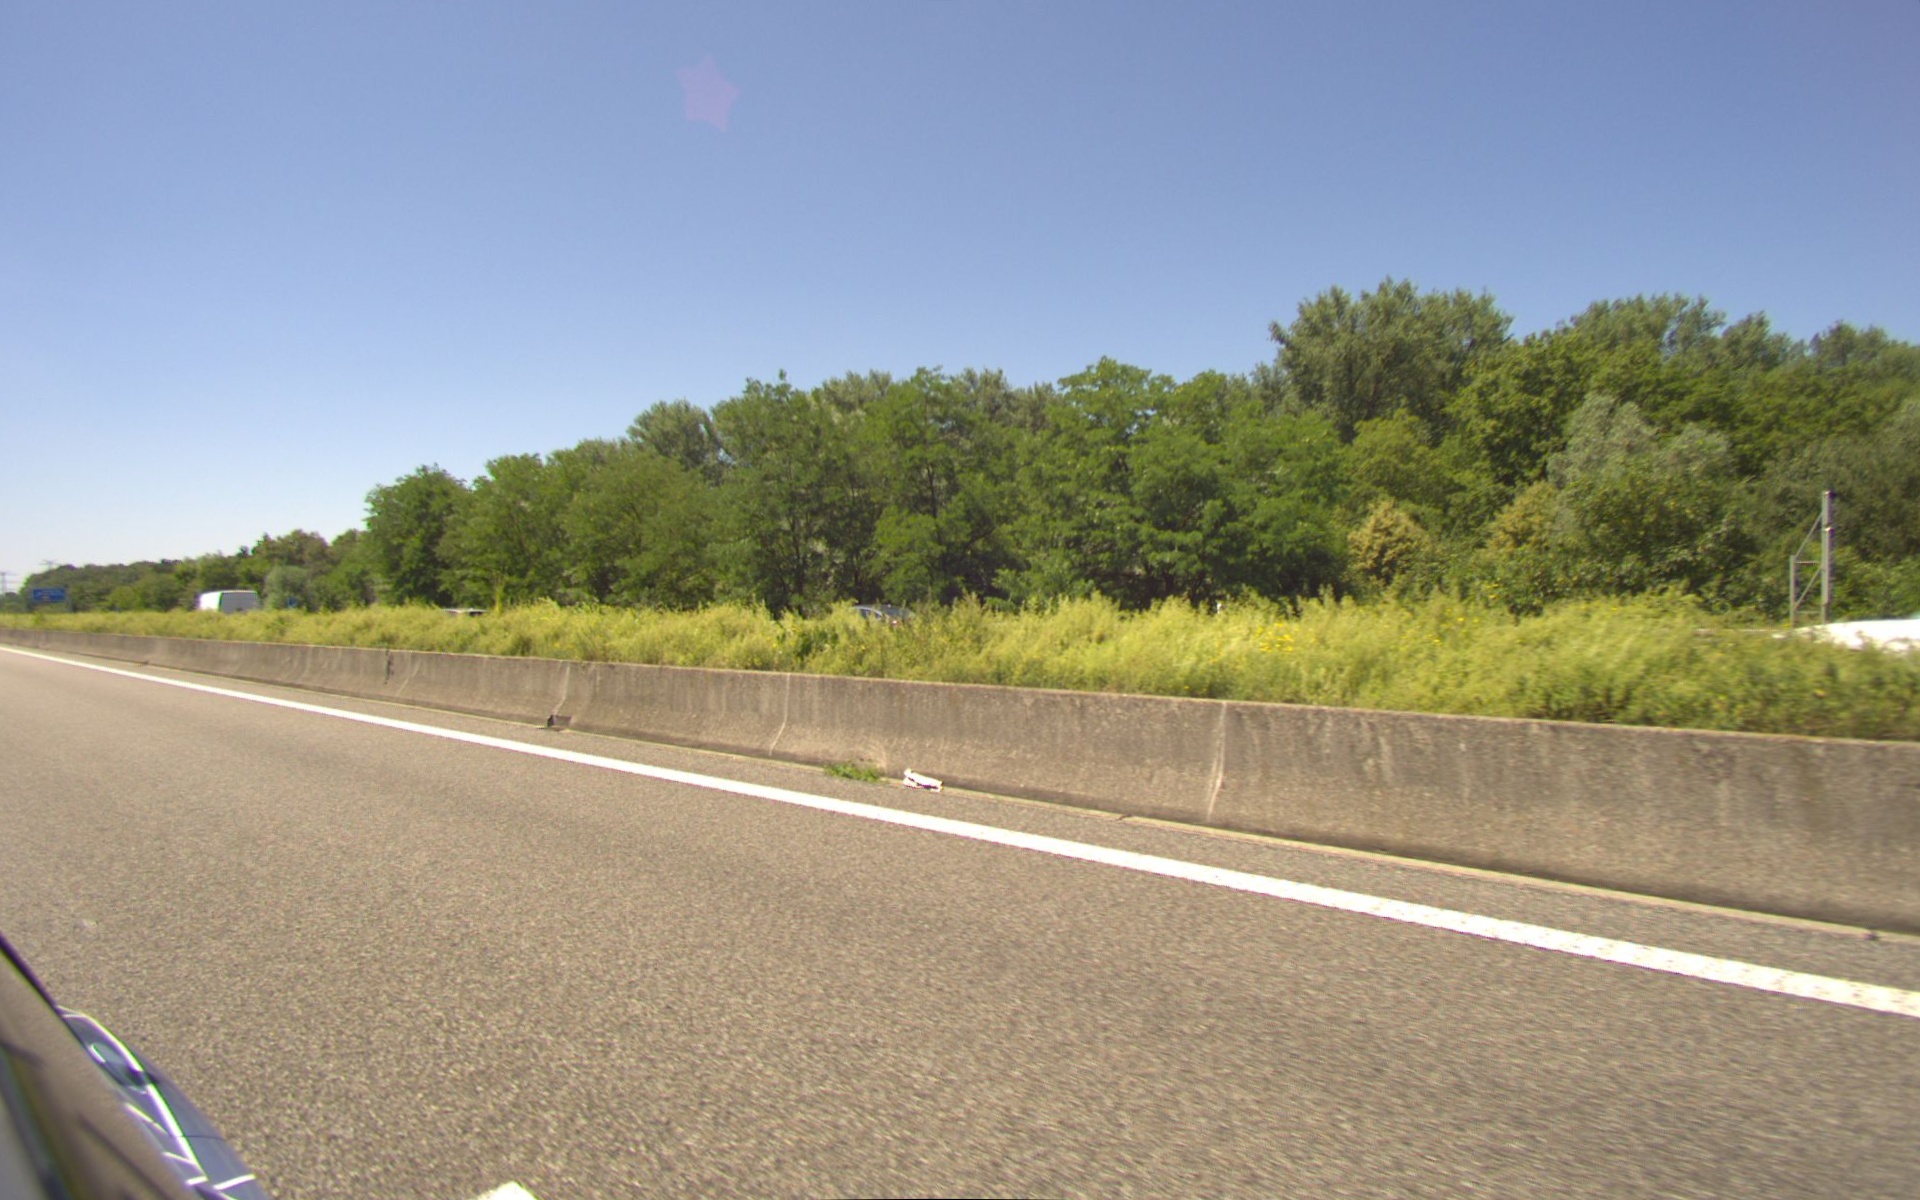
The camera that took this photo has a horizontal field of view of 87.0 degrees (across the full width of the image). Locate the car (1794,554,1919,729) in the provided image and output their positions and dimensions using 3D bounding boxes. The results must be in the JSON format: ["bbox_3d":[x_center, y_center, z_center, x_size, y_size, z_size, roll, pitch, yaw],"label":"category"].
[{"bbox_3d":[12.106,0.439,10.936,4.720,1.914,1.884,-1,-1,41],"label":"car"}]

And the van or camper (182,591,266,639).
[{"bbox_3d":[-39.293,0.816,53.976,6.757,2.405,2.227,-1,-1,41],"label":"van or camper"}]

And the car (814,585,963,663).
[{"bbox_3d":[-2.058,0.651,28.628,3.998,2.029,1.973,-1,-1,41],"label":"car"}]

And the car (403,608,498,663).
[{"bbox_3d":[-19.974,1.333,39.638,3.998,2.029,1.973,-1,-1,41],"label":"car"}]
